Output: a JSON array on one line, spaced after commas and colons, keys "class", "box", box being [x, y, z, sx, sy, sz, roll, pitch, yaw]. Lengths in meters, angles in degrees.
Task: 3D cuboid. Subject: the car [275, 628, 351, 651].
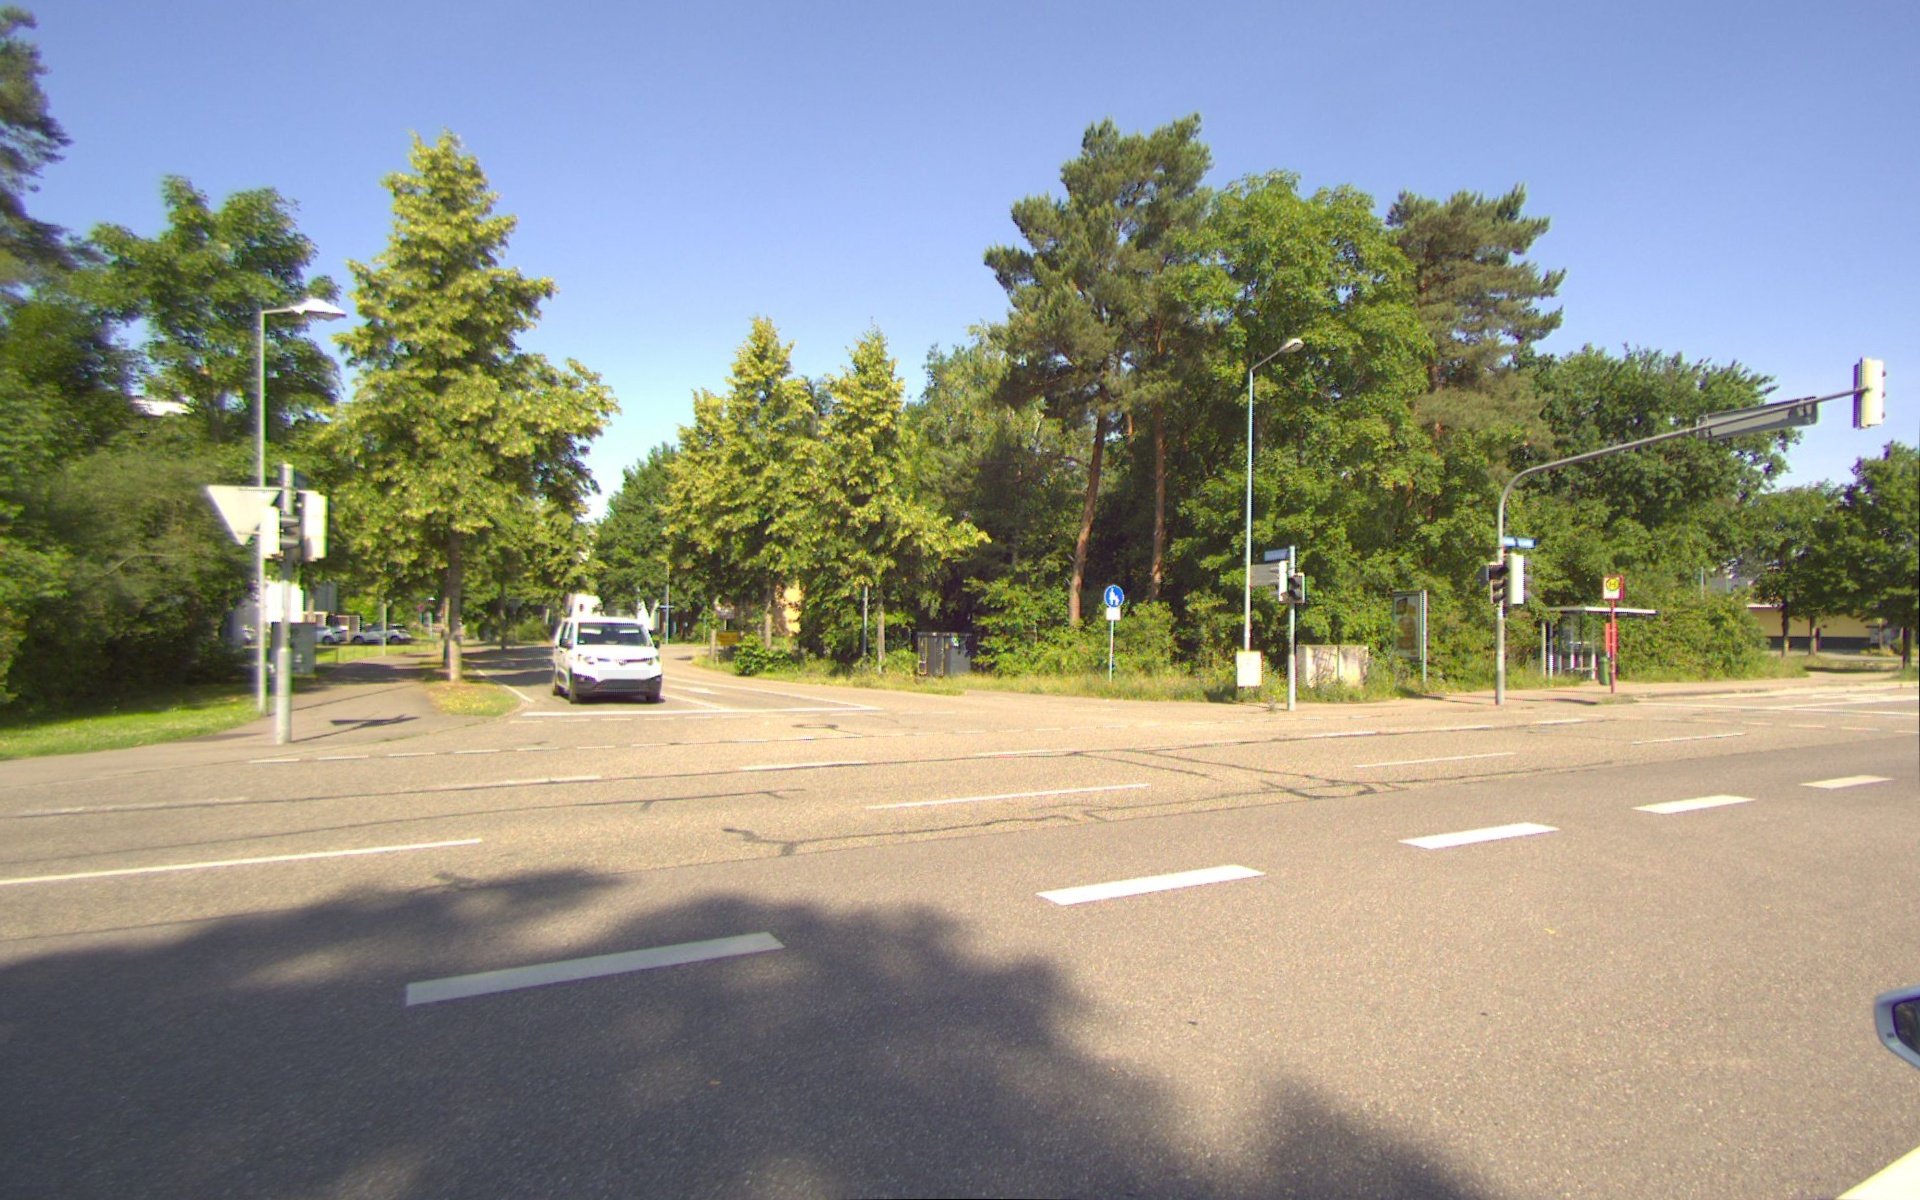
[{"class": "car", "box": [-46.069, 2.839, 71.645, 4.209, 1.506, 1.769, 2, 0, -20]}]

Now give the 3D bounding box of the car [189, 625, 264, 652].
[{"class": "car", "box": [-50.847, 2.689, 69.686, 3.954, 1.751, 1.984, 2, 0, -31]}]

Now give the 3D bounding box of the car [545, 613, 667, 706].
[{"class": "car", "box": [-7.842, 1.273, 21.965, 1.829, 1.801, 4.628, 2, -3, -28]}]

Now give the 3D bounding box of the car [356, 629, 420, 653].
[{"class": "car", "box": [-41.312, 2.936, 72.584, 3.637, 1.584, 1.599, 2, 0, -6]}]
